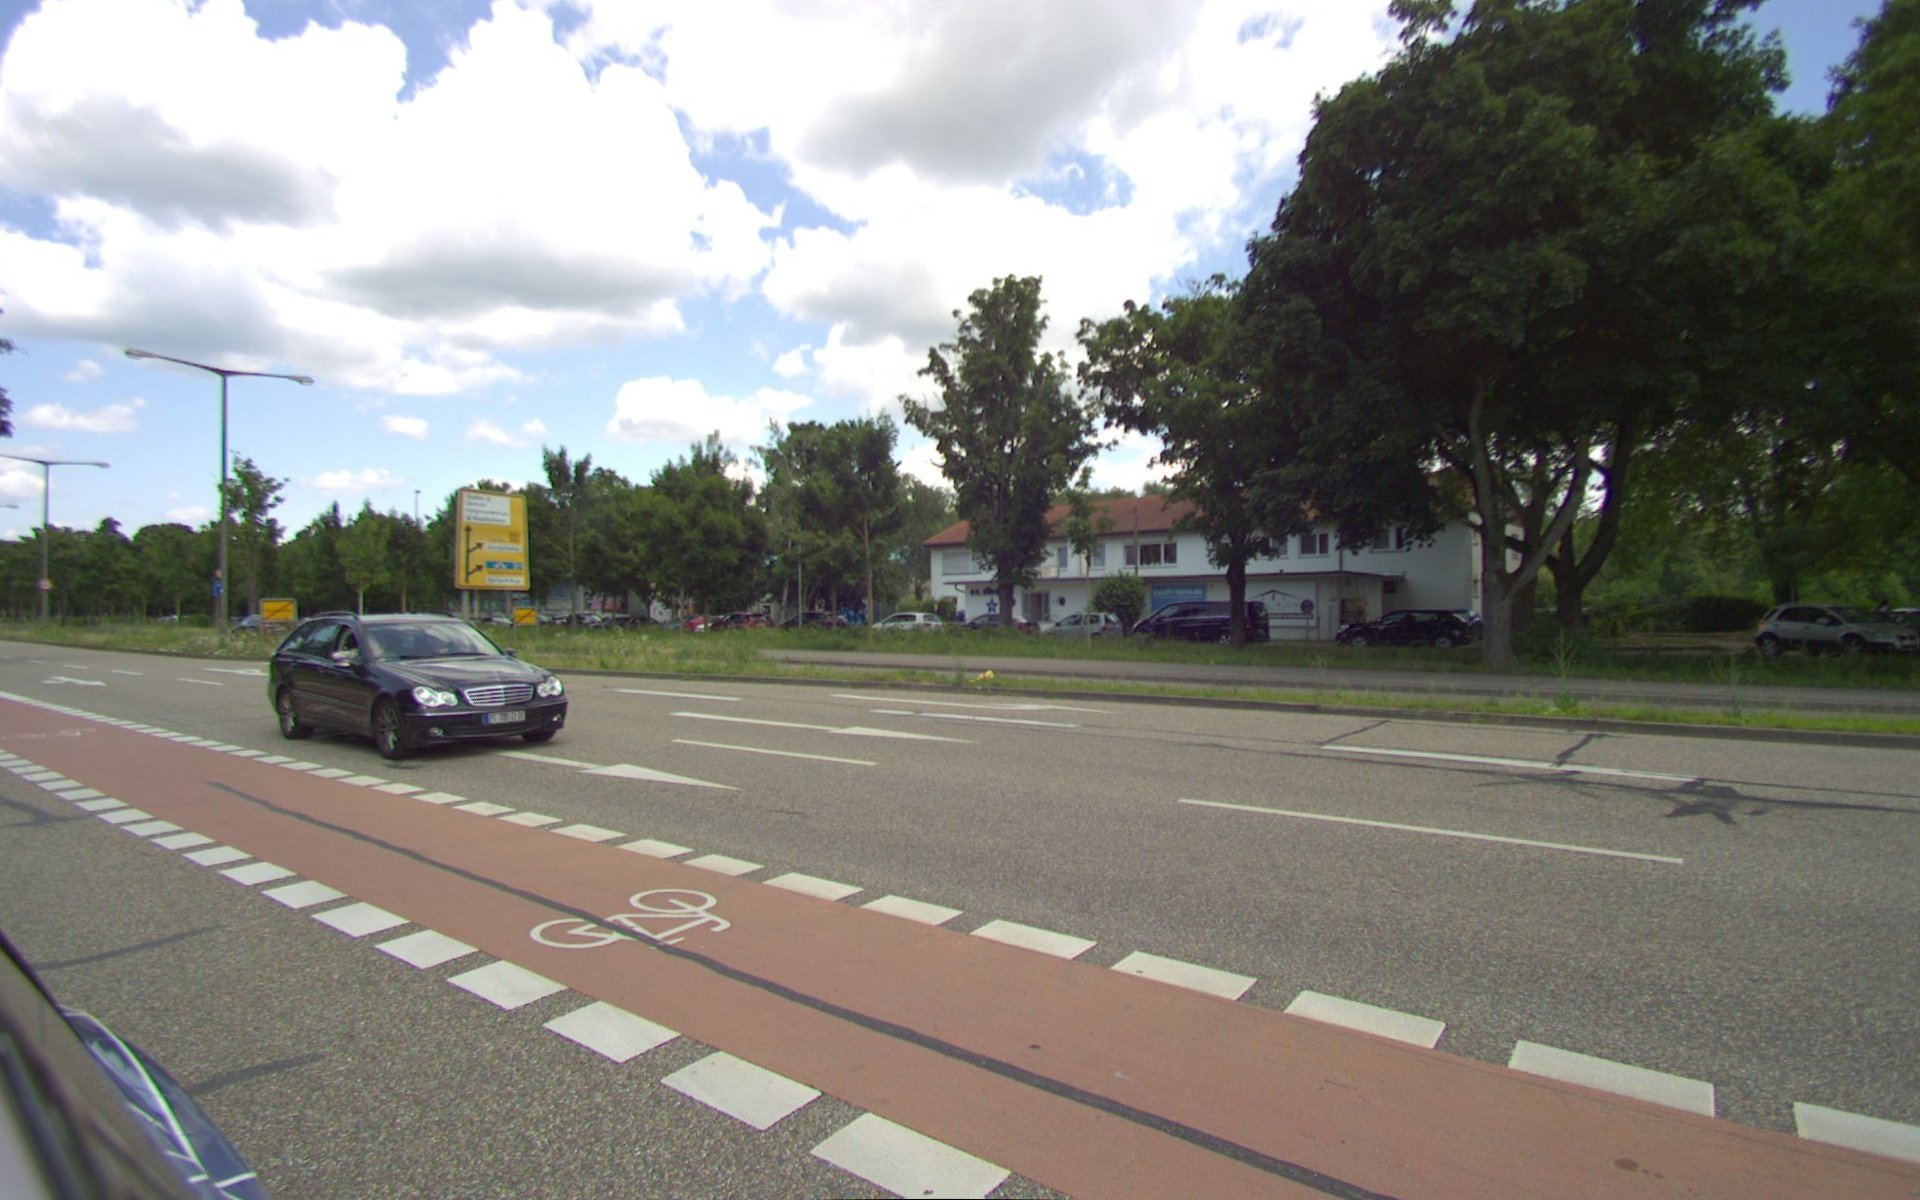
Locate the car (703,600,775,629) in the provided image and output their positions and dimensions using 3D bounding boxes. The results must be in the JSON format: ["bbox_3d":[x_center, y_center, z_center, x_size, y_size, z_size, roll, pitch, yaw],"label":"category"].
[{"bbox_3d":[-12.471,0.831,57.055,4.021,1.600,1.973,-1,-2,41],"label":"car"}]

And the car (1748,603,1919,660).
[{"bbox_3d":[25.265,0.887,28.857,1.966,1.495,4.033,0,-1,-14],"label":"car"}]

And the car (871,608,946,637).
[{"bbox_3d":[-2.510,1.104,48.587,3.475,1.342,1.604,-1,-2,41],"label":"car"}]

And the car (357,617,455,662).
[{"bbox_3d":[-19.061,1.325,34.788,3.689,1.457,1.665,-1,-2,39],"label":"car"}]

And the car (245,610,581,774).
[{"bbox_3d":[-6.258,0.870,11.368,4.428,1.477,1.738,-1,0,39],"label":"car"}]

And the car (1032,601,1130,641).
[{"bbox_3d":[5.068,0.885,42.526,3.664,1.600,1.896,-1,-2,41],"label":"car"}]

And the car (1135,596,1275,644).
[{"bbox_3d":[9.283,0.757,38.605,4.927,1.724,1.863,-1,-2,41],"label":"car"}]

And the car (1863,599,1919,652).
[{"bbox_3d":[30.036,0.755,30.290,1.966,1.600,4.033,0,-3,-14],"label":"car"}]

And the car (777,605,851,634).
[{"bbox_3d":[-7.653,1.031,52.881,3.864,1.422,1.707,-1,-2,41],"label":"car"}]

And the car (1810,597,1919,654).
[{"bbox_3d":[27.753,0.737,29.576,1.966,1.600,4.033,0,-1,-14],"label":"car"}]

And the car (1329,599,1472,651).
[{"bbox_3d":[15.049,0.838,34.630,4.347,1.670,1.794,-1,0,30],"label":"car"}]

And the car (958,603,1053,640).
[{"bbox_3d":[1.983,0.956,45.078,4.021,1.600,1.740,-1,-2,41],"label":"car"}]

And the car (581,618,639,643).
[{"bbox_3d":[-23.281,1.998,67.278,4.021,1.600,1.973,-1,-2,41],"label":"car"}]

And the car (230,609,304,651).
[{"bbox_3d":[-35.227,1.513,51.434,3.994,2.029,1.974,-1,-2,38],"label":"car"}]
